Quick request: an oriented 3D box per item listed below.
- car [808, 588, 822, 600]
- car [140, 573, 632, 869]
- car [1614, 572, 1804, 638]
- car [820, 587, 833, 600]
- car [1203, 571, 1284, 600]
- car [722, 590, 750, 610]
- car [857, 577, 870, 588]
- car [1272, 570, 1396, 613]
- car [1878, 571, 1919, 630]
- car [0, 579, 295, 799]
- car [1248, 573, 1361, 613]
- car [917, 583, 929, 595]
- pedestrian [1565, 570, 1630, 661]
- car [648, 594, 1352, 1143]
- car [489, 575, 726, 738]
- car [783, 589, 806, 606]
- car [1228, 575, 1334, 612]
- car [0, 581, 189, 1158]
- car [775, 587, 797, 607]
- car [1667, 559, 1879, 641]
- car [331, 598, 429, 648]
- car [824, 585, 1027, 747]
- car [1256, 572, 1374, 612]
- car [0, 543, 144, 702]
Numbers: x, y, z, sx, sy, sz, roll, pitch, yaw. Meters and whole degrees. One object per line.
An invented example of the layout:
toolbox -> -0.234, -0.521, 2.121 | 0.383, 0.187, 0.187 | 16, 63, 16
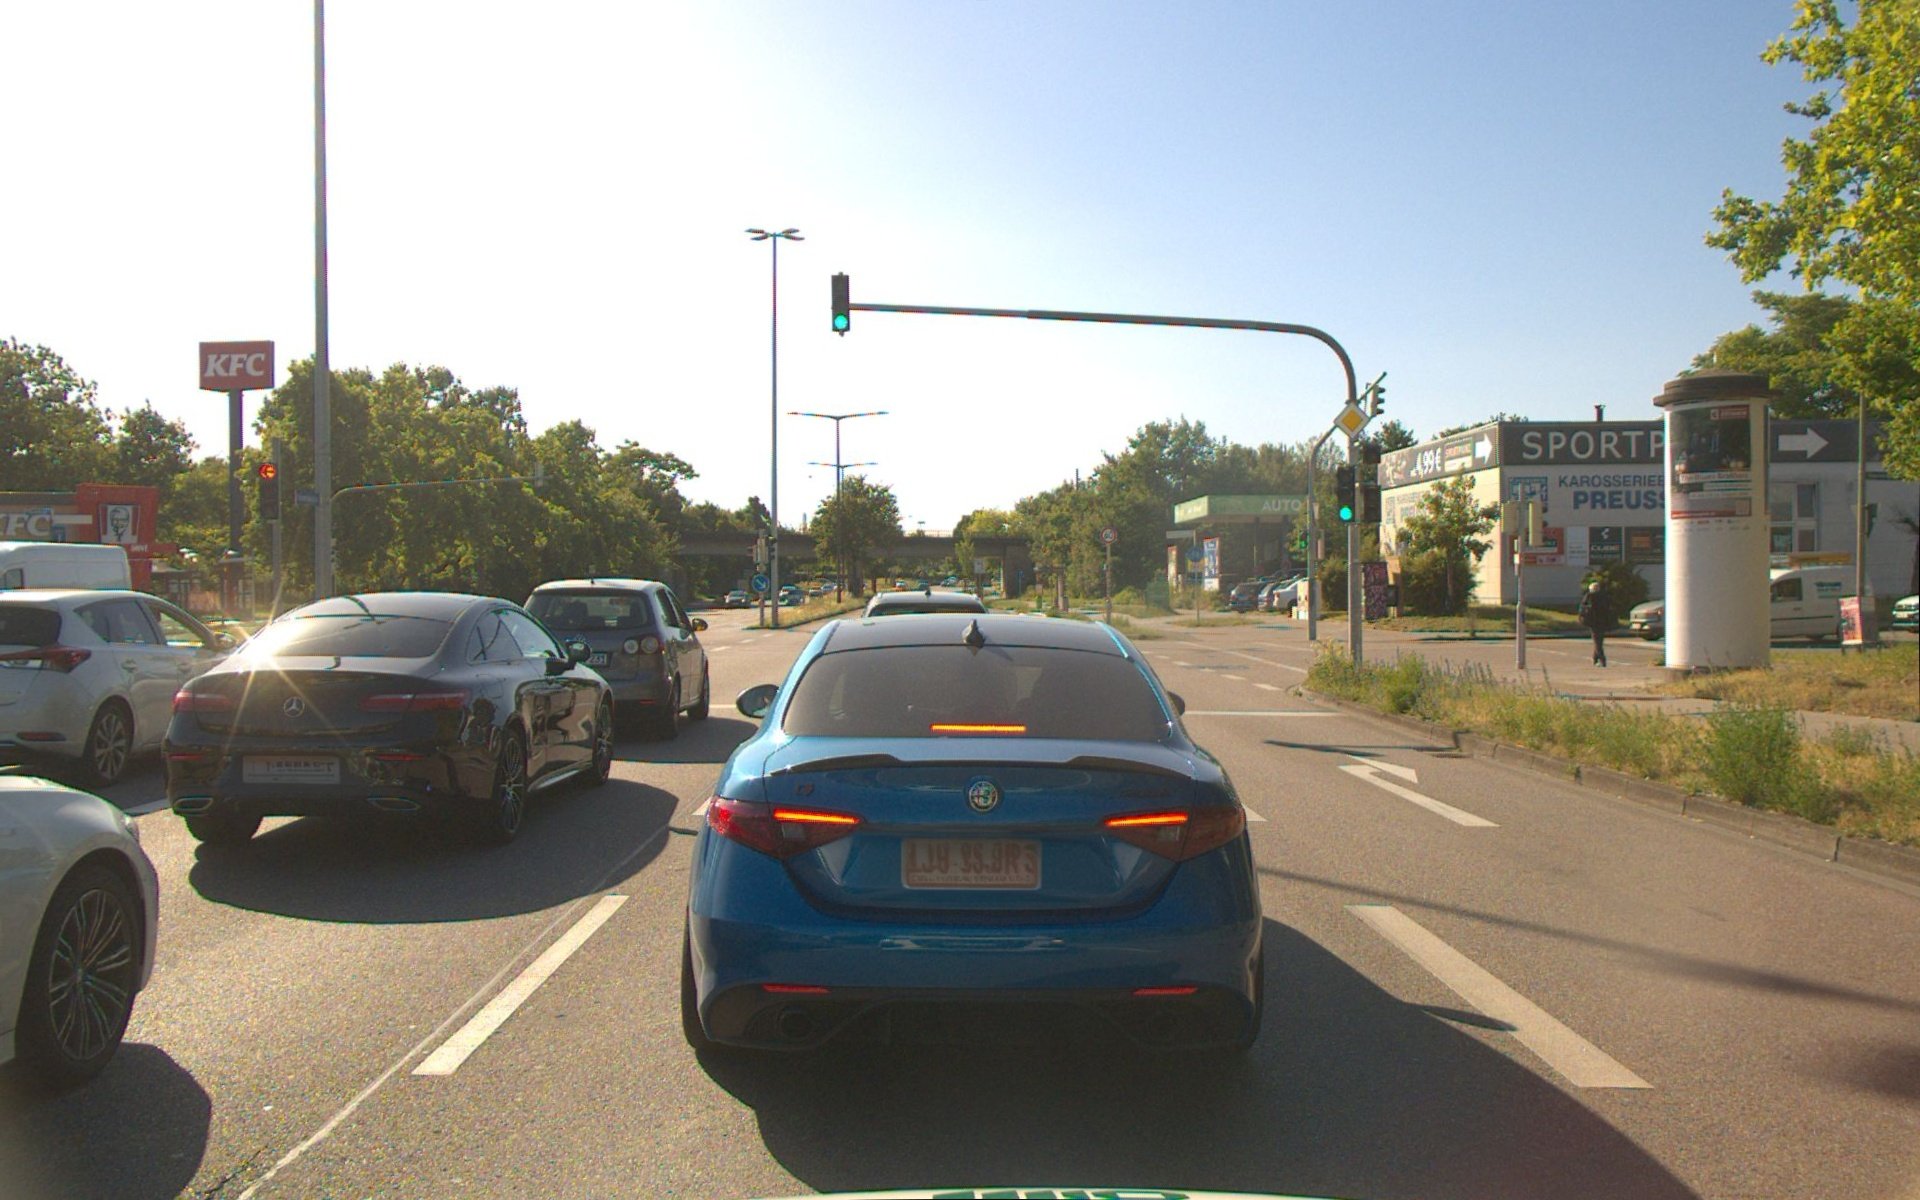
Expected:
car -> -19.014, -0.778, 216.808 | 1.583, 1.586, 3.357 | 1, 0, -1
car -> -3.423, 0.641, 10.845 | 1.760, 1.516, 4.474 | 1, 0, -2
car -> 19.594, 0.113, 43.378 | 4.201, 1.576, 1.764 | -1, 2, -2
car -> -18.839, -0.927, 233.668 | 1.577, 1.675, 3.462 | 1, 0, -1
car -> 16.724, -0.850, 97.585 | 4.457, 1.516, 1.765 | -2, 0, 1
car -> -18.332, -0.002, 135.384 | 1.723, 1.516, 4.477 | -2, 0, -1
car -> -14.686, -2.652, 250.901 | 1.723, 1.516, 4.477 | -2, 0, -1
car -> 14.608, -0.321, 64.797 | 4.397, 1.479, 1.858 | -2, 0, 1
car -> 26.739, -0.055, 43.708 | 3.960, 1.516, 1.782 | -2, 0, -3
car -> -7.108, 0.610, 13.530 | 1.723, 1.516, 4.195 | 1, 0, -2
car -> 14.629, -0.298, 70.330 | 4.397, 1.479, 1.858 | -2, 0, 1
car -> -5.887, -1.713, 262.516 | 1.853, 1.847, 3.999 | 1, 0, -1
pedestrian -> 12.641, 0.296, 32.822 | 0.906, 1.765, 0.938 | 1, -1, -1
car -> 0.046, 0.729, 6.608 | 1.857, 1.443, 4.401 | 1, 0, -2
car -> -3.656, 0.543, 17.898 | 1.723, 1.516, 4.401 | 1, 0, -2
car -> -15.212, -0.237, 152.072 | 1.723, 1.516, 3.836 | -2, 0, -1
car -> 14.400, -0.289, 74.377 | 4.397, 1.479, 1.858 | -2, 0, 1
car -> -3.351, 0.689, 3.197 | 1.749, 1.516, 4.401 | 1, 0, -2
car -> -18.623, -0.304, 177.609 | 1.953, 2.049, 3.999 | 1, 0, -1
car -> 19.624, -0.023, 40.043 | 4.293, 1.833, 1.764 | -1, 2, -2
car -> -19.665, 0.760, 56.287 | 1.723, 1.516, 4.477 | -3, 0, -1
car -> -0.377, 0.605, 17.175 | 1.813, 1.443, 4.401 | 1, 0, -2
car -> 14.484, -0.321, 67.574 | 4.397, 1.479, 1.858 | -2, 0, 1
car -> -15.988, 0.408, 27.422 | 1.981, 2.489, 5.820 | -3, 0, -1
